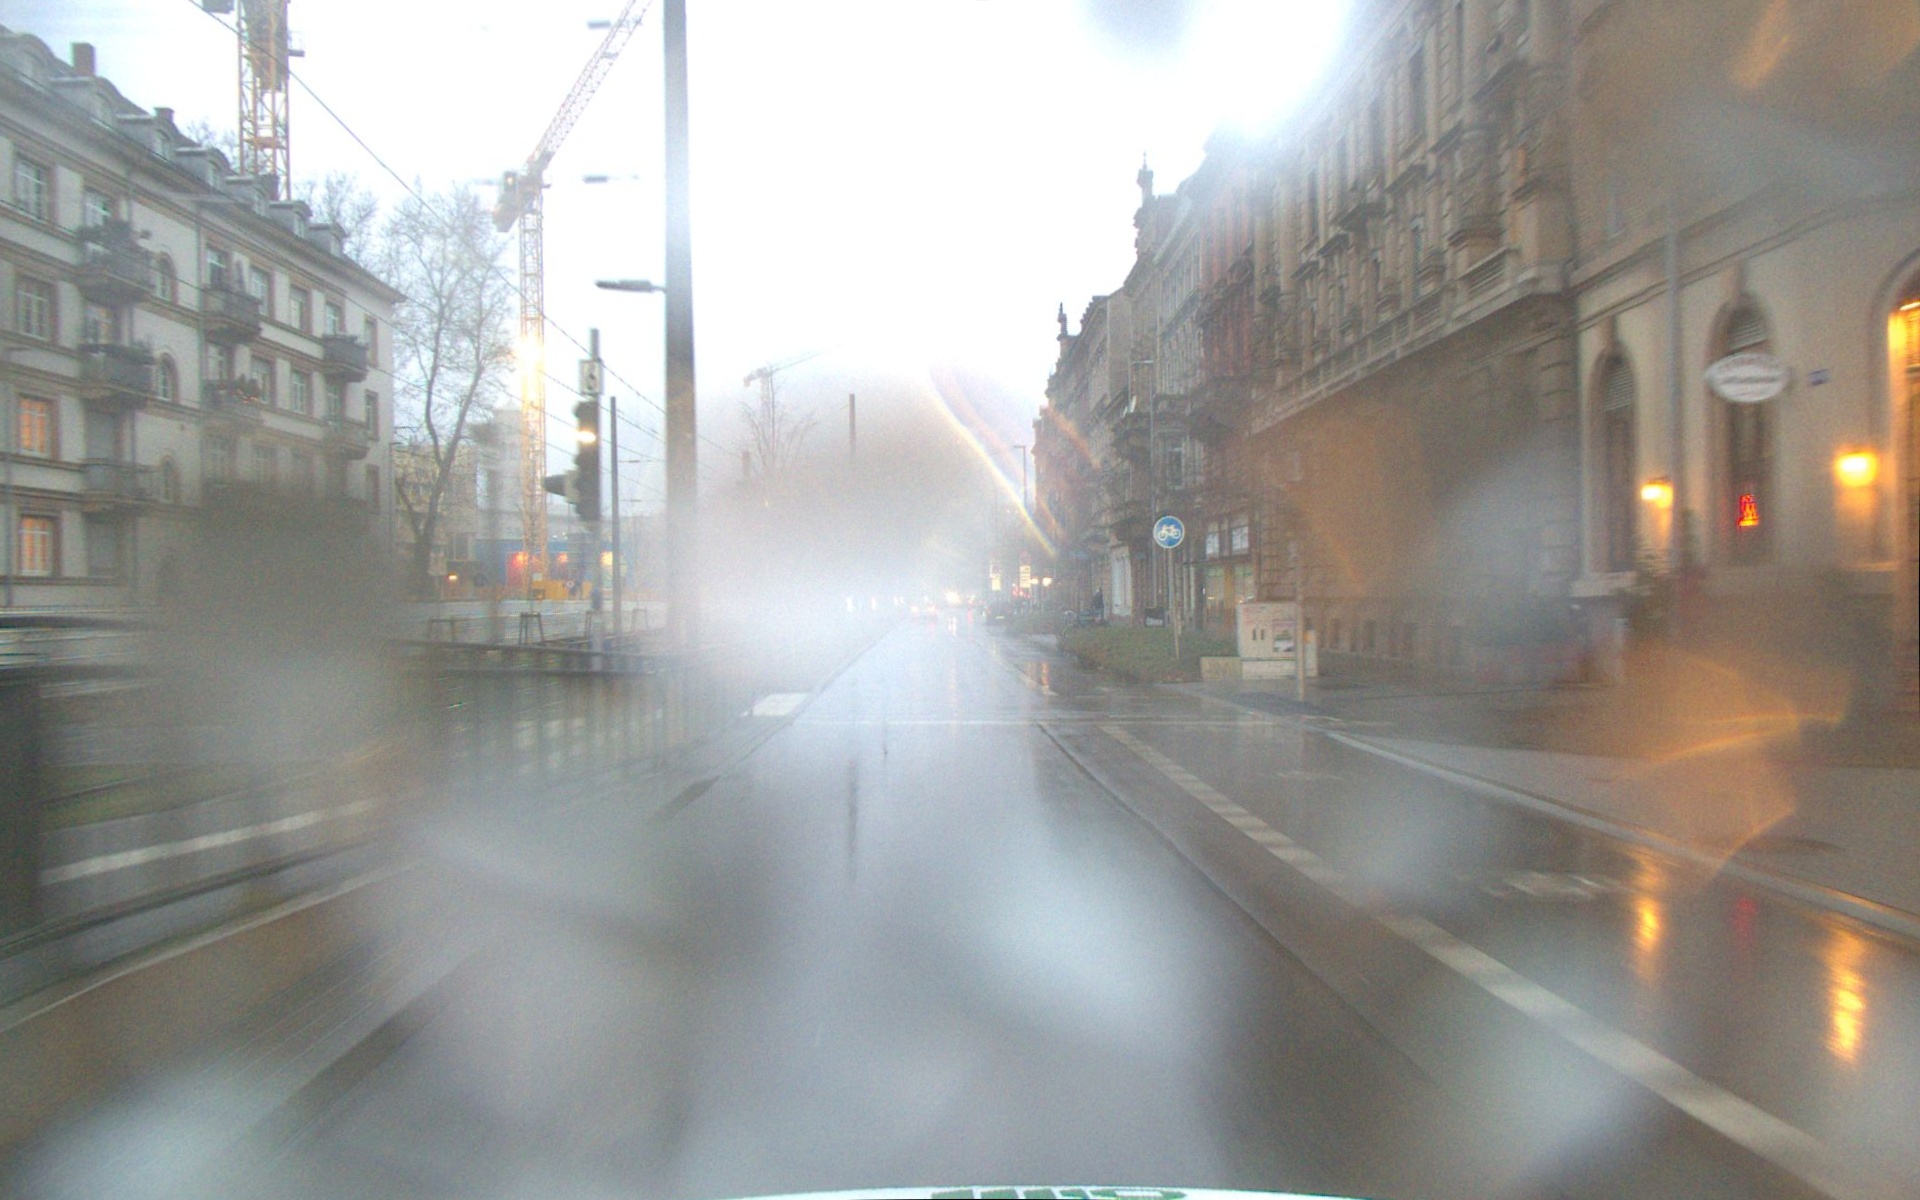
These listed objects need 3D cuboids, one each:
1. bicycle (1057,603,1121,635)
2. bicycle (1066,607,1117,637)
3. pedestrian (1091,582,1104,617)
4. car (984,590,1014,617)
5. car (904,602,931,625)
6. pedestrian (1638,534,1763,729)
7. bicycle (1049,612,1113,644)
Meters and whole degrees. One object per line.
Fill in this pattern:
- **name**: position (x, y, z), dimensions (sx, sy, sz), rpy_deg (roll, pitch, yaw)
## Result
- **bicycle**: position (4.475, 0.657, 57.408), dimensions (2.106, 1.076, 0.525), rpy_deg (-1, 0, -7)
- **bicycle**: position (4.852, 0.803, 61.261), dimensions (1.814, 1.077, 0.471), rpy_deg (-1, 0, -4)
- **pedestrian**: position (7.365, -0.024, 88.430), dimensions (0.590, 1.817, 0.528), rpy_deg (-1, 0, -1)
- **car**: position (2.444, 0.228, 103.878), dimensions (1.762, 1.632, 3.770), rpy_deg (-1, 0, 1)
- **car**: position (-2.936, 0.921, 115.345), dimensions (1.747, 1.492, 3.148), rpy_deg (-1, 0, 1)
- **pedestrian**: position (8.038, 0.328, 17.968), dimensions (0.844, 2.049, 0.909), rpy_deg (-1, 0, -31)
- **bicycle**: position (4.311, 0.988, 58.920), dimensions (2.204, 1.076, 0.525), rpy_deg (-1, 0, -4)
